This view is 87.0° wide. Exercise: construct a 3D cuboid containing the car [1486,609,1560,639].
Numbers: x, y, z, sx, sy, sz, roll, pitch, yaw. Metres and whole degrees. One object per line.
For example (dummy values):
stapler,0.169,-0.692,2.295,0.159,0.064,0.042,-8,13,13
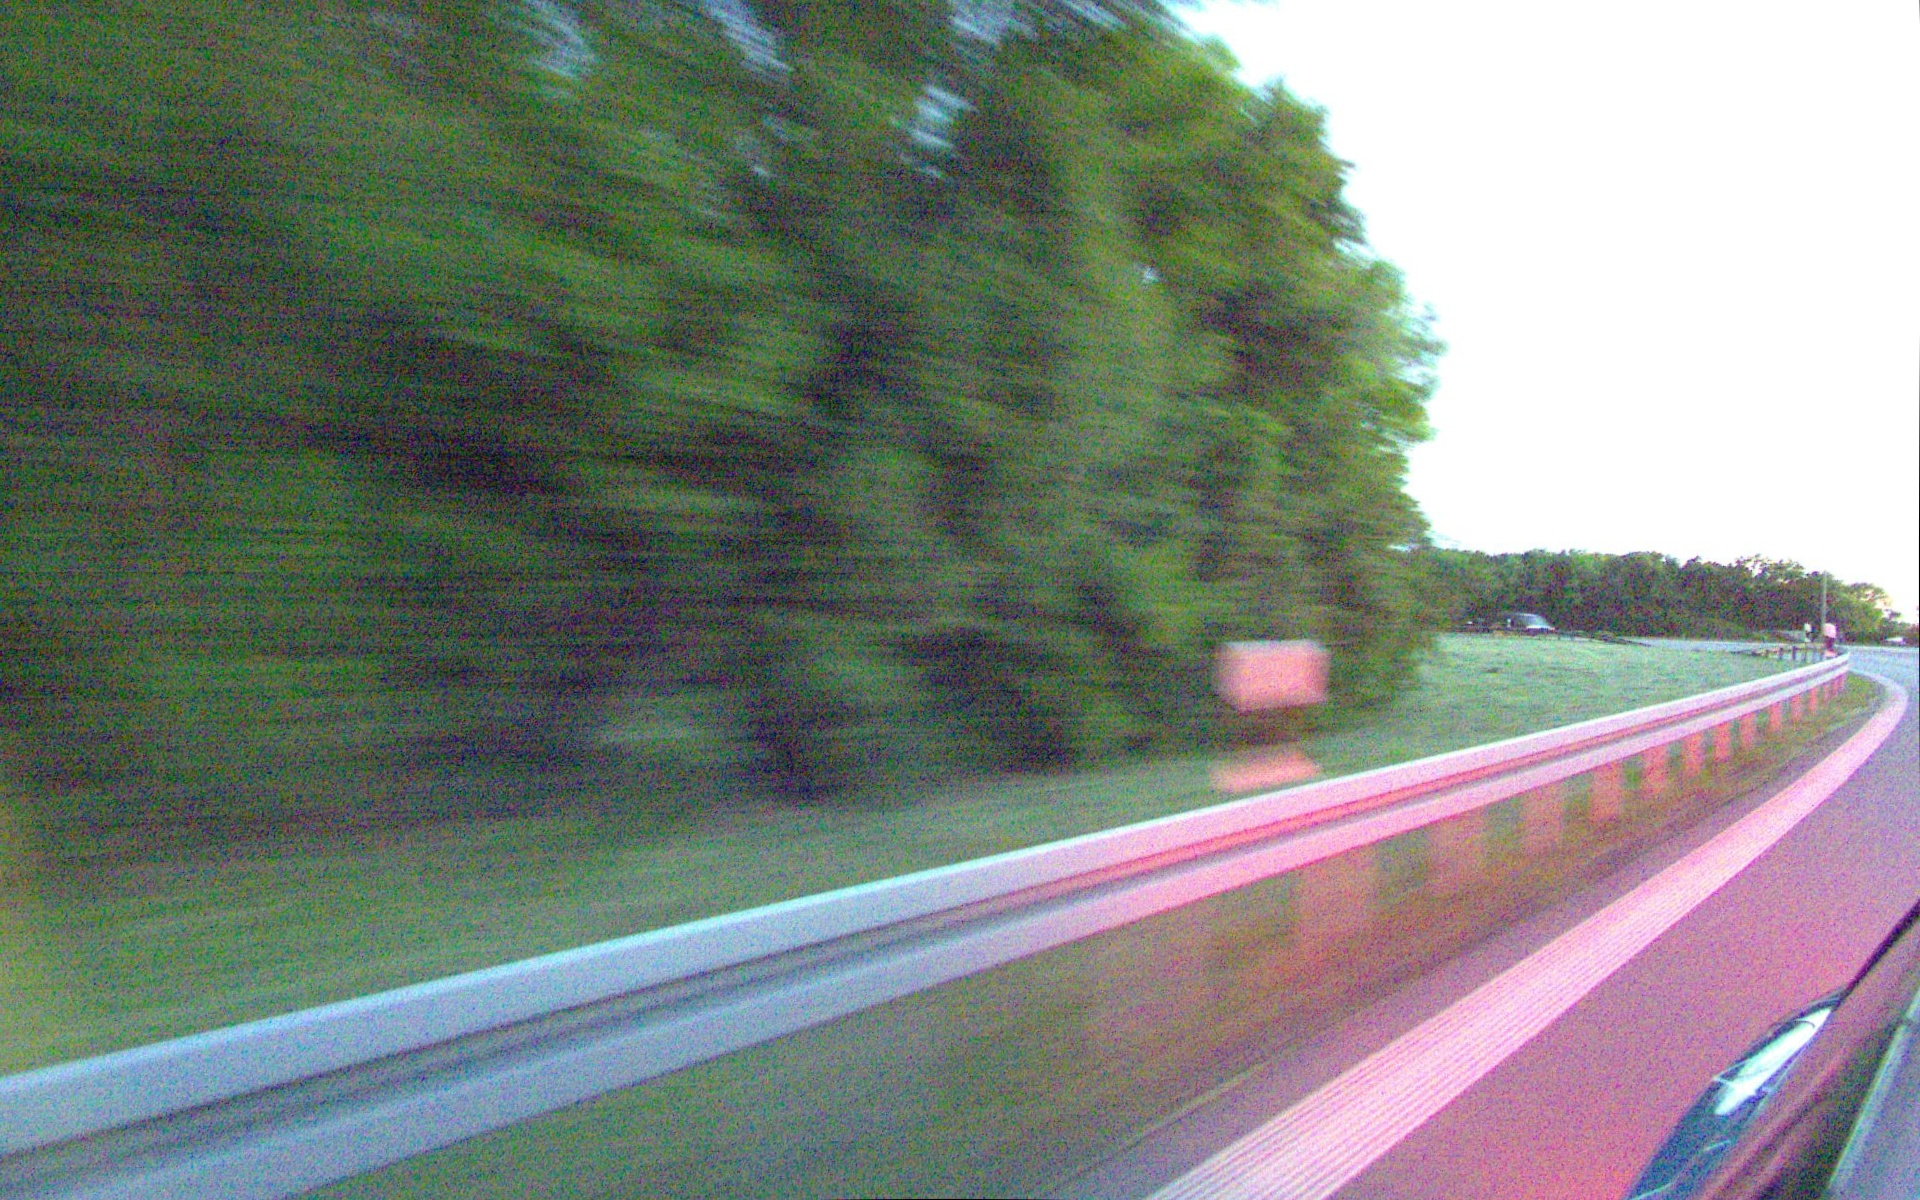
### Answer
car,50.187,2.091,90.439,2.218,2.561,6.508,0,0,-9
